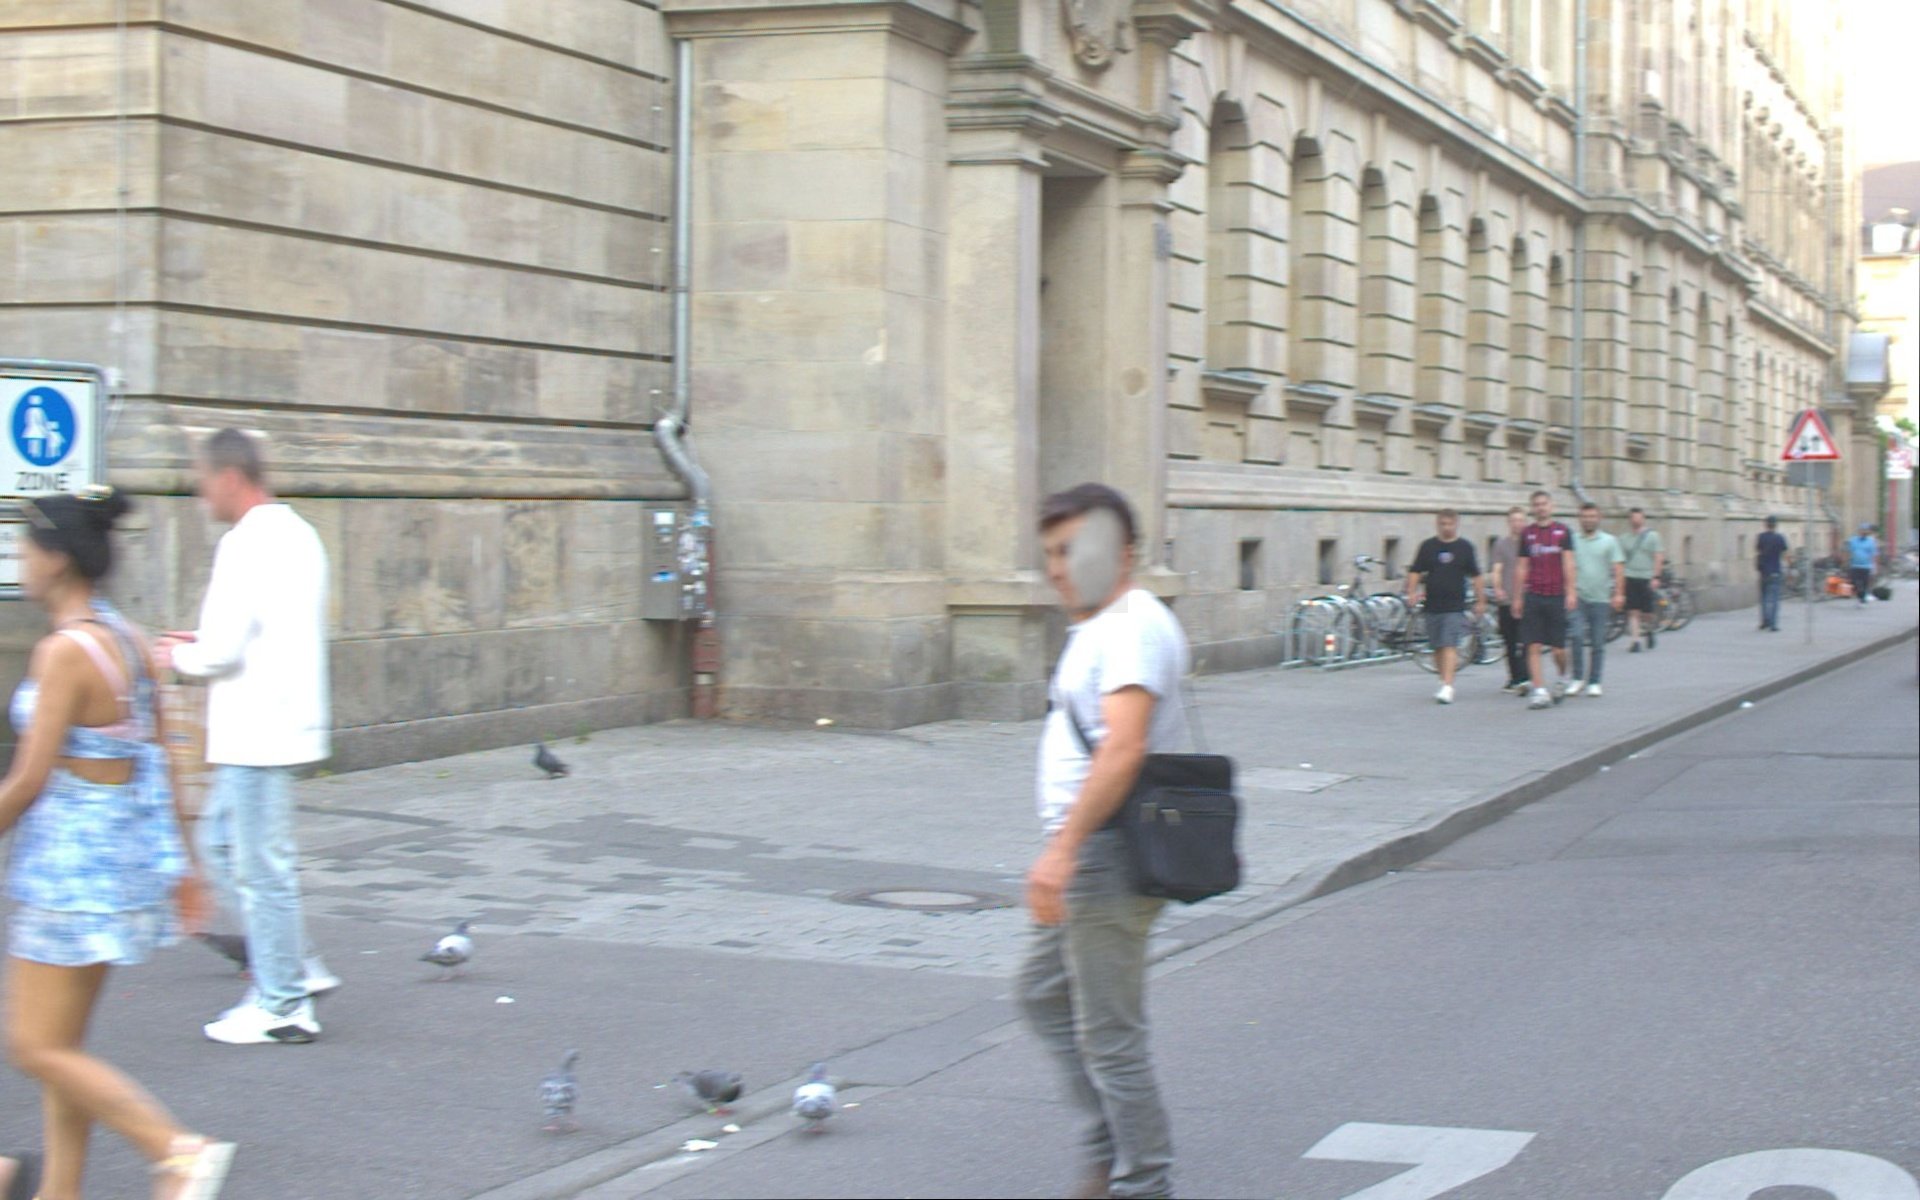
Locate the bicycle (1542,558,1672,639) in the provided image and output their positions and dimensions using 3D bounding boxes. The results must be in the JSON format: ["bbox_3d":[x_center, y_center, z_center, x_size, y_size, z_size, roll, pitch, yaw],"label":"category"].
[{"bbox_3d":[8.987,-0.031,47.737,1.681,1.037,0.487,3,2,18],"label":"bicycle"}]

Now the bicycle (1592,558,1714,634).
[{"bbox_3d":[10.286,-0.063,51.028,1.681,1.037,0.487,3,2,18],"label":"bicycle"}]

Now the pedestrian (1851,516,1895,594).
[{"bbox_3d":[21.086,-1.037,79.389,0.808,1.746,0.935,4,2,18],"label":"pedestrian"}]

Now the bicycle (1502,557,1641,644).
[{"bbox_3d":[7.931,0.001,44.570,1.681,1.037,0.487,3,2,18],"label":"bicycle"}]

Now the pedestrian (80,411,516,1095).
[{"bbox_3d":[-1.895,0.404,9.928,0.872,1.833,0.867,4,2,14],"label":"pedestrian"}]

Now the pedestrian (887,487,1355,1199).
[{"bbox_3d":[0.363,0.588,7.392,0.869,1.641,0.732,1,0,14],"label":"pedestrian"}]

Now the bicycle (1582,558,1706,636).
[{"bbox_3d":[9.910,-0.050,49.798,1.681,1.037,0.487,3,2,18],"label":"bicycle"}]

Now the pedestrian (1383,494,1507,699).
[{"bbox_3d":[4.156,-0.042,29.416,0.798,1.669,0.974,4,2,17],"label":"pedestrian"}]

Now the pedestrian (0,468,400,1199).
[{"bbox_3d":[-1.758,0.533,7.104,0.872,1.576,0.805,1,0,19],"label":"pedestrian"}]

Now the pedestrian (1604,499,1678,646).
[{"bbox_3d":[8.350,-0.340,42.139,0.719,1.746,0.668,4,2,17],"label":"pedestrian"}]

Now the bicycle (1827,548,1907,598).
[{"bbox_3d":[21.072,-0.632,79.888,1.681,1.037,0.487,5,2,20],"label":"bicycle"}]

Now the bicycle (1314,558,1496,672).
[{"bbox_3d":[4.410,0.144,34.122,1.682,1.037,0.487,3,2,24],"label":"bicycle"}]

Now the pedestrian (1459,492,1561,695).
[{"bbox_3d":[4.917,-0.068,30.695,0.689,1.746,0.721,4,2,17],"label":"pedestrian"}]

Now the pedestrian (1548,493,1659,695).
[{"bbox_3d":[5.785,-0.061,30.893,0.787,1.746,0.721,4,2,17],"label":"pedestrian"}]

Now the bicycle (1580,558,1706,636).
[{"bbox_3d":[9.800,-0.045,49.345,1.681,1.037,0.487,3,2,18],"label":"bicycle"}]

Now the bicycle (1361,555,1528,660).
[{"bbox_3d":[5.186,0.079,36.852,1.679,1.037,0.487,2,2,2],"label":"bicycle"}]

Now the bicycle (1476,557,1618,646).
[{"bbox_3d":[7.409,0.012,43.408,1.681,1.037,0.487,3,2,18],"label":"bicycle"}]

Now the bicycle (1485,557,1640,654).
[{"bbox_3d":[7.004,0.055,39.963,1.681,1.037,0.487,3,2,18],"label":"bicycle"}]

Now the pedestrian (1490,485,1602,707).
[{"bbox_3d":[4.957,-0.045,29.050,0.698,1.806,0.974,4,2,17],"label":"pedestrian"}]

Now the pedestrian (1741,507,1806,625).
[{"bbox_3d":[12.511,-0.534,52.877,0.804,1.746,0.809,4,2,17],"label":"pedestrian"}]

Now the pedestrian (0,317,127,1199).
[{"bbox_3d":[-2.175,0.392,6.405,0.872,1.833,0.805,1,0,19],"label":"pedestrian"}]

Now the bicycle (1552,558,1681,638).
[{"bbox_3d":[9.190,-0.035,48.147,1.681,1.037,0.487,3,2,18],"label":"bicycle"}]

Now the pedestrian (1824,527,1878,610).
[{"bbox_3d":[18.356,-0.651,70.826,0.934,1.630,0.654,4,2,17],"label":"pedestrian"}]
